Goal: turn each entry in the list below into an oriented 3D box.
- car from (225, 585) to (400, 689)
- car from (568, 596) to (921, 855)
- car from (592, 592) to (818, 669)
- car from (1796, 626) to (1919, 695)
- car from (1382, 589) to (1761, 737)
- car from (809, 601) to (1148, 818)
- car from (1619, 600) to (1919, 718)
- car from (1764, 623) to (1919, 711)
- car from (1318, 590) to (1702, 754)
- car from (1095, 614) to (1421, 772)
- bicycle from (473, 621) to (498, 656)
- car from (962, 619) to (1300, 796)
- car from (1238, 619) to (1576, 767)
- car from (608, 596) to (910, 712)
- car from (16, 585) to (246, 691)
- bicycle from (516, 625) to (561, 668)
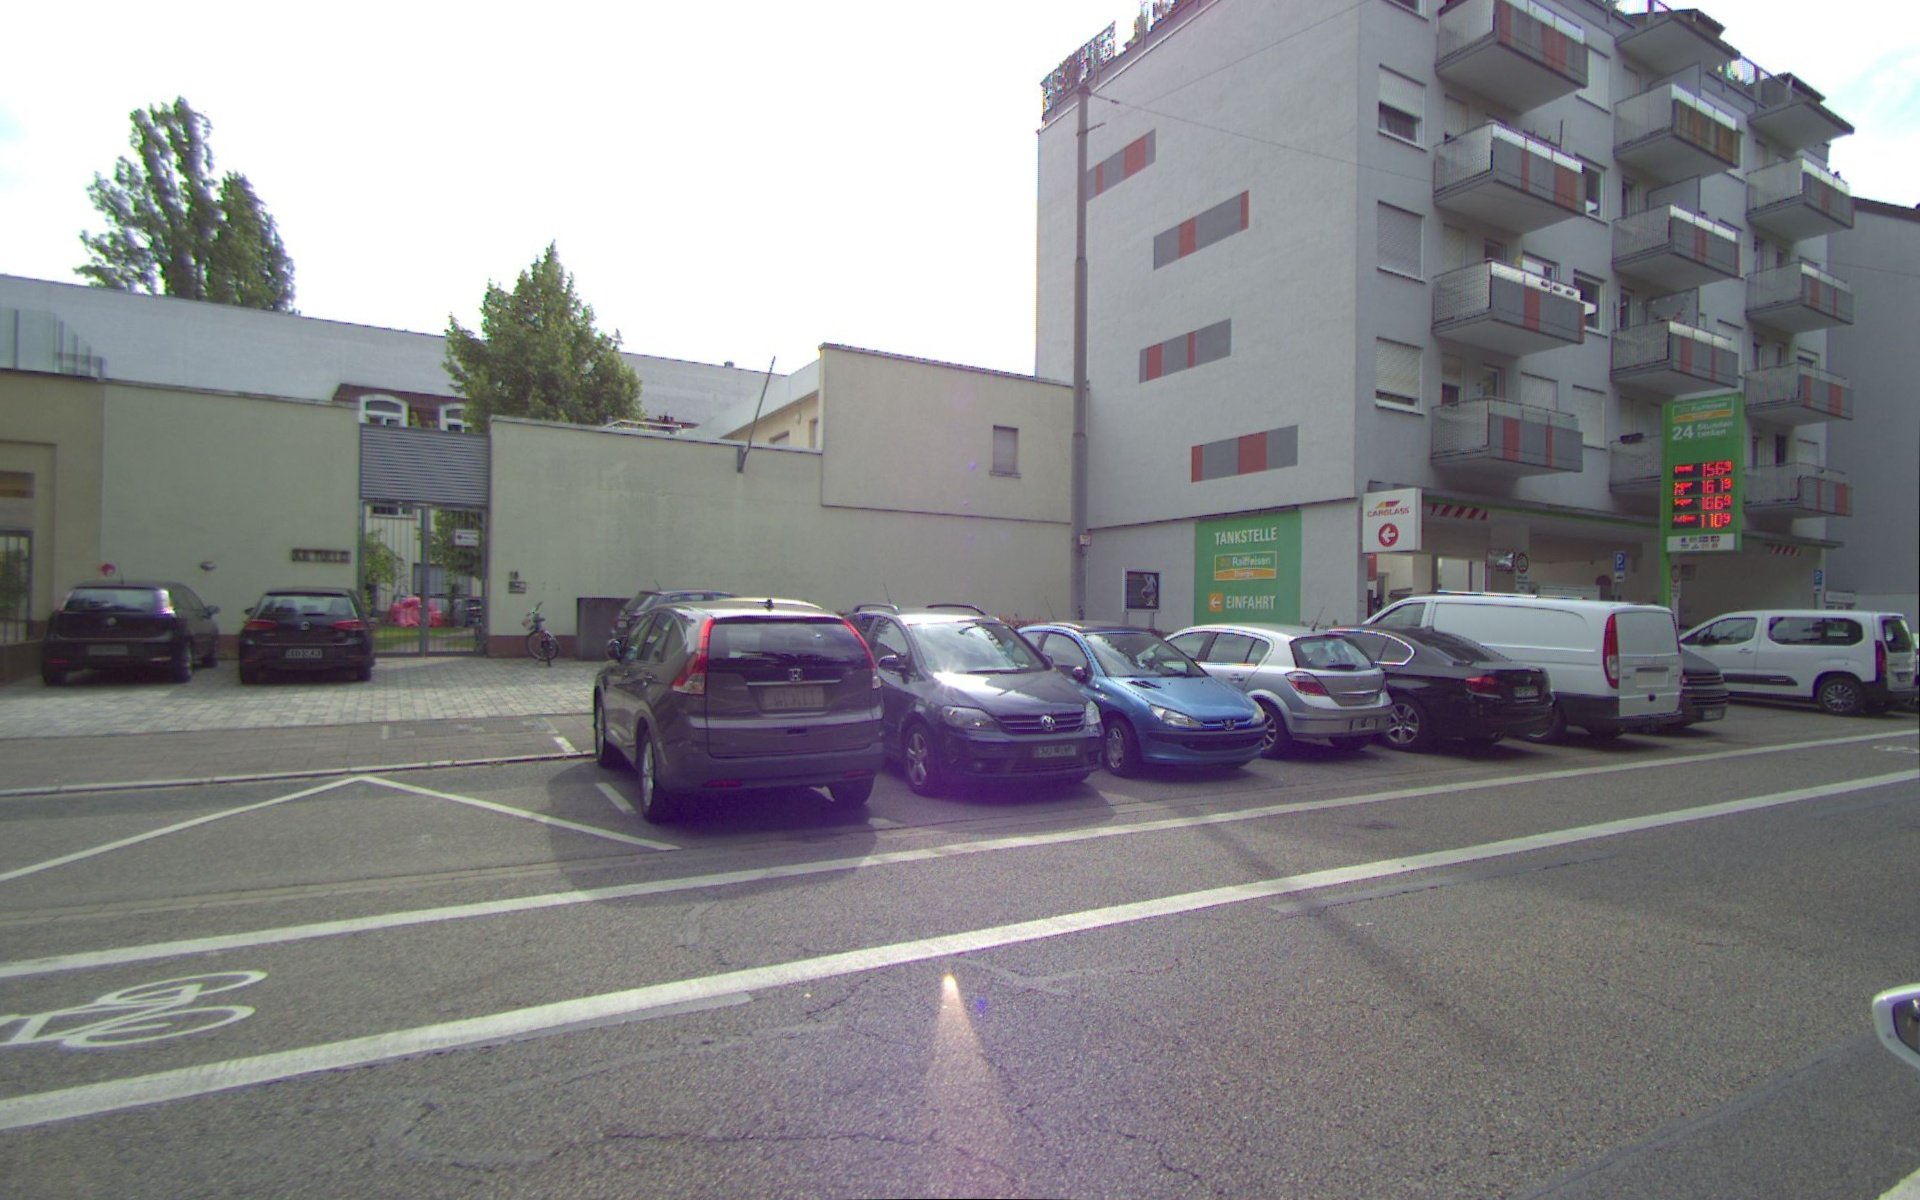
[{"bbox_3d":[-10.596,0.542,16.741,1.892,1.485,3.974,2,0,-25],"label":"car"},{"bbox_3d":[-2.145,0.810,8.876,1.944,1.627,4.238,-1,1,-29],"label":"car"},{"bbox_3d":[-4.993,0.535,19.860,3.961,1.350,1.800,-1,1,-36],"label":"car"},{"bbox_3d":[21.590,1.392,23.093,1.487,1.421,3.325,2,0,-31],"label":"car"},{"bbox_3d":[9.652,0.855,16.354,1.977,1.929,4.892,1,1,-30],"label":"car"},{"bbox_3d":[-0.046,0.873,10.029,1.731,1.591,3.925,1,1,-27],"label":"car"},{"bbox_3d":[15.480,1.017,19.323,1.803,1.895,4.285,1,1,-31],"label":"car"},{"bbox_3d":[18.017,1.292,19.556,1.578,1.517,3.325,2,0,-31],"label":"car"},{"bbox_3d":[7.714,0.867,14.609,2.022,1.904,4.506,1,1,-29],"label":"car"},{"bbox_3d":[3.511,0.993,12.454,1.733,1.505,3.663,1,1,-30],"label":"car"},{"bbox_3d":[-10.971,0.877,23.238,0.483,0.752,1.978,1,-1,-24],"label":"bicycle"},{"bbox_3d":[1.702,1.014,11.115,1.733,1.446,3.663,1,1,-30],"label":"car"},{"bbox_3d":[5.592,1.057,12.999,1.733,1.464,3.664,1,1,-30],"label":"car"},{"bbox_3d":[-3.018,0.752,15.307,4.184,1.539,1.749,1,1,-30],"label":"car"},{"bbox_3d":[-12.942,0.495,15.988,1.865,1.439,3.974,0,1,-25],"label":"car"},{"bbox_3d":[-8.021,0.859,19.071,0.485,0.752,1.973,1,-1,-31],"label":"bicycle"}]
